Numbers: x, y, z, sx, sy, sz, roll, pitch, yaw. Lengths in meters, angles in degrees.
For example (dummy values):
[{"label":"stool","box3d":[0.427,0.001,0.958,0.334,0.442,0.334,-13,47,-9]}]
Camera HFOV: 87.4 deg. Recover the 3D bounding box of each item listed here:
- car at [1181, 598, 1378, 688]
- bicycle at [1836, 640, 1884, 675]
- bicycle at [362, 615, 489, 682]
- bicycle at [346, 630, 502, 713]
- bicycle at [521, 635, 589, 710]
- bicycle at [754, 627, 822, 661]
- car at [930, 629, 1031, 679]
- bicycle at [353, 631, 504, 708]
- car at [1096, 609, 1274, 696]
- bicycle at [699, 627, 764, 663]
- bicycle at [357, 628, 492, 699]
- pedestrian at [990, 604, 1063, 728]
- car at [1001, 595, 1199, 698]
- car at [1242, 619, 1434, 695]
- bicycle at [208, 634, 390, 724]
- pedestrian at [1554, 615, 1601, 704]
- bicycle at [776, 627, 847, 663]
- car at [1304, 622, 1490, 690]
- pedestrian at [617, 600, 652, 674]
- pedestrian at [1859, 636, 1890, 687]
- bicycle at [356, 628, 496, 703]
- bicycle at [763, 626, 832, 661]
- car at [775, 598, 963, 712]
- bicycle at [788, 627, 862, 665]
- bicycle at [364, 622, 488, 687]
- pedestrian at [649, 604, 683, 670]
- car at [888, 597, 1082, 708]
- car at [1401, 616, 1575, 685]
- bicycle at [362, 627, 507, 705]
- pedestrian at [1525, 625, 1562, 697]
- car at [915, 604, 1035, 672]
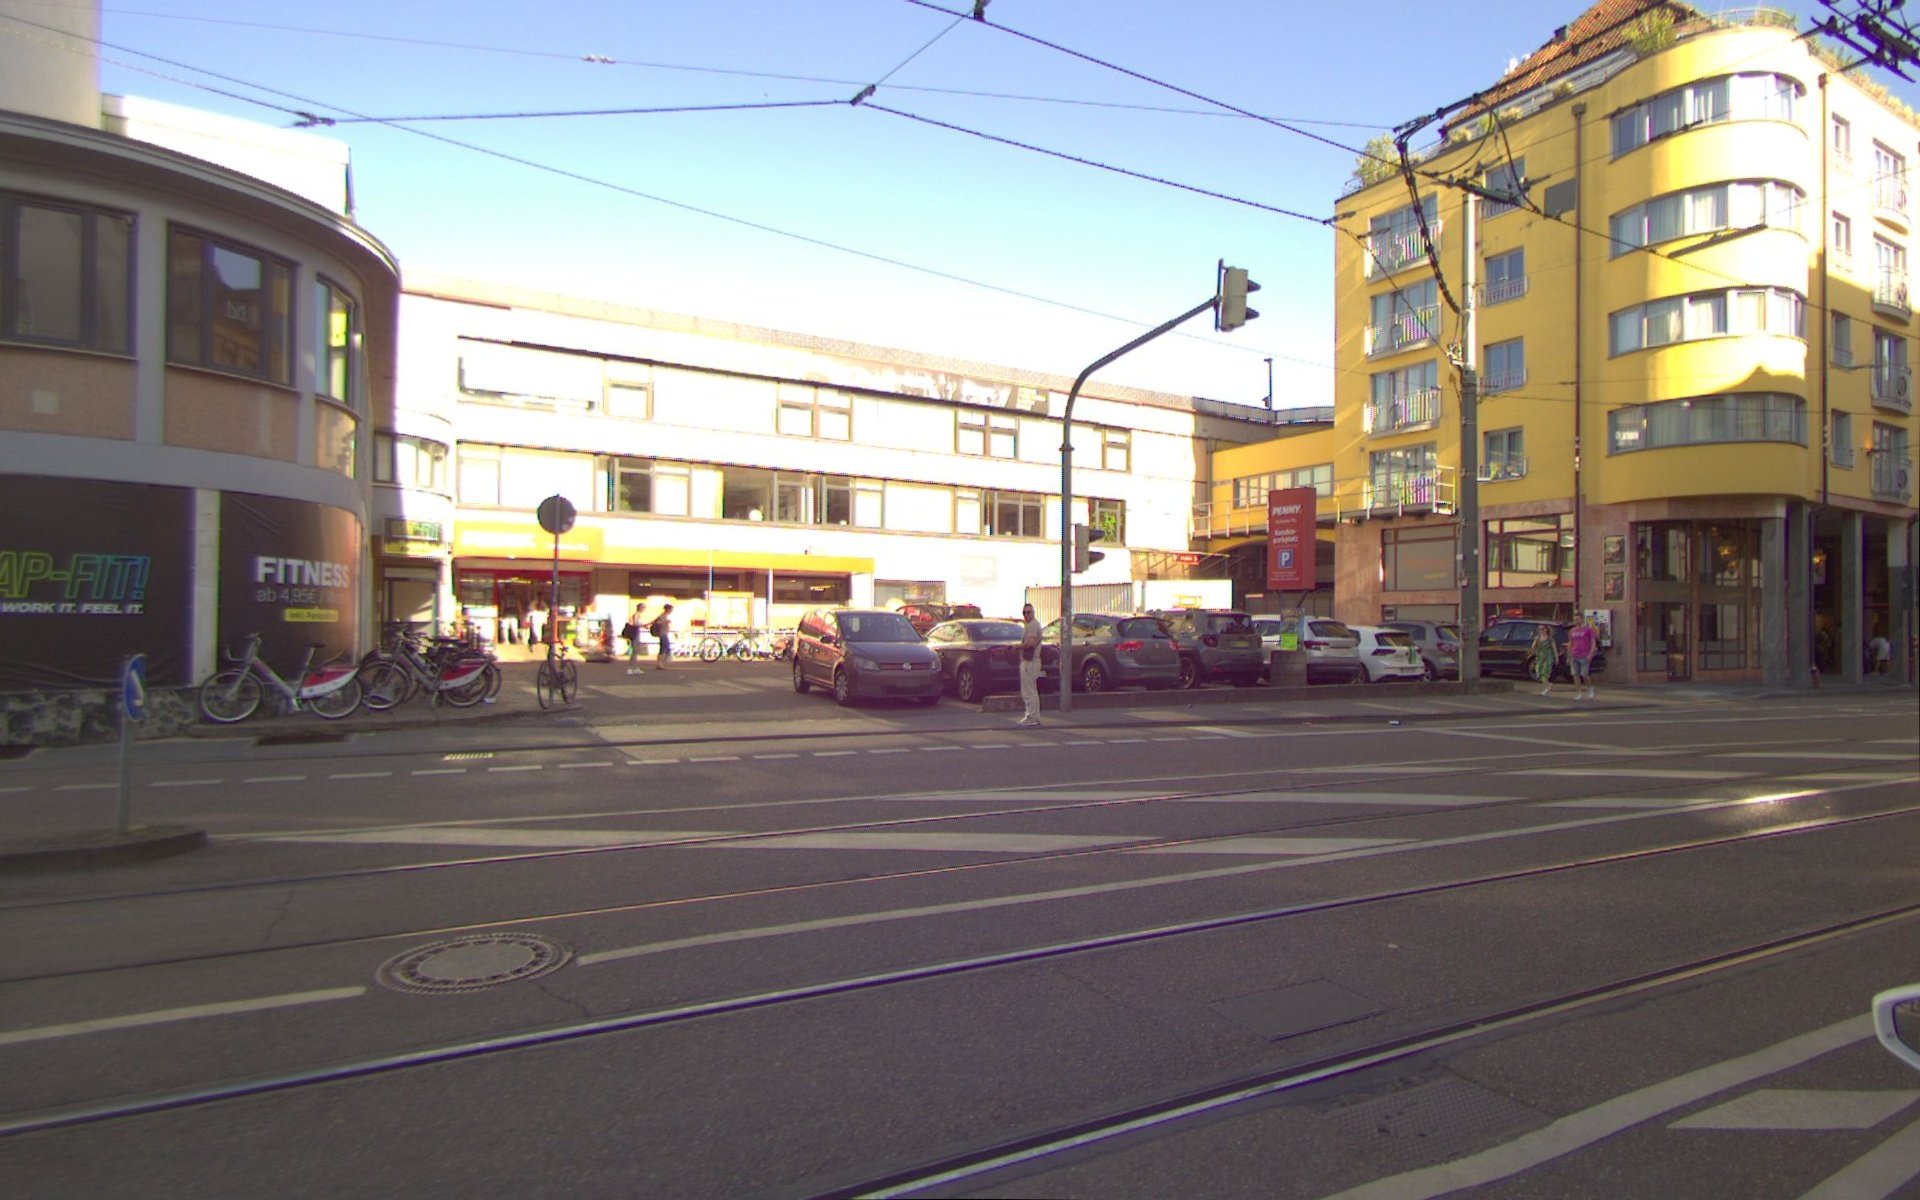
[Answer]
[{"label":"car","box3d":[7.216,0.974,23.102,1.764,1.835,4.214,4,-3,-29]},{"label":"bicycle","box3d":[32.923,2.090,36.726,2.053,1.219,0.579,1,-1,-26]},{"label":"bicycle","box3d":[-9.174,0.821,17.277,1.864,1.091,0.459,2,-1,-40]},{"label":"bicycle","box3d":[-7.465,0.978,14.039,1.863,1.094,0.460,2,-1,-38]},{"label":"bicycle","box3d":[-6.211,1.078,15.475,0.417,1.050,1.878,1,-1,-5]},{"label":"bicycle","box3d":[-5.303,1.357,31.019,2.041,1.028,0.501,2,-1,-33]},{"label":"car","box3d":[0.627,1.749,33.110,1.609,1.501,3.618,4,-3,-31]},{"label":"bicycle","box3d":[-7.670,0.985,14.554,1.863,1.050,0.460,2,-1,-38]},{"label":"car","box3d":[4.759,1.060,21.698,1.764,1.695,3.673,2,-1,-29]},{"label":"bicycle","box3d":[-6.622,1.303,29.138,1.802,1.028,0.366,2,-1,-27]},{"label":"bicycle","box3d":[-8.669,1.013,16.317,1.864,1.091,0.459,2,-1,-40]},{"label":"pedestrian","box3d":[1.003,0.977,15.144,0.773,1.787,0.708,2,1,-37]},{"label":"car","box3d":[2.684,0.881,20.243,1.764,1.836,4.214,1,-1,-29]},{"label":"car","box3d":[9.013,1.307,24.313,1.764,1.630,4.214,1,-1,-30]},{"label":"bicycle","box3d":[-8.290,0.960,12.649,1.863,1.050,0.520,2,-1,-38]},{"label":"pedestrian","box3d":[13.924,1.332,22.651,0.701,1.972,0.634,2,-1,-31]},{"label":"bicycle","box3d":[-4.343,1.310,29.508,2.041,1.028,0.501,2,-1,-33]},{"label":"car","box3d":[11.159,1.417,25.937,1.764,1.568,4.214,4,-3,-29]},{"label":"pedestrian","box3d":[-7.693,0.875,23.751,0.647,1.718,0.478,2,-1,-32]},{"label":"pedestrian","box3d":[32.775,2.202,35.999,0.713,1.793,0.559,2,-1,-26]},{"label":"bicycle","box3d":[-8.251,0.998,15.572,1.863,1.091,0.460,2,-1,-38]},{"label":"bicycle","box3d":[-4.901,1.326,30.369,2.041,1.028,0.492,2,-1,-33]},{"label":"car","box3d":[-1.756,0.882,17.978,1.764,1.787,4.214,2,-1,-30]},{"label":"bicycle","box3d":[-3.788,1.288,28.320,2.041,1.028,0.510,2,-1,-33]},{"label":"bicycle","box3d":[-9.443,0.958,17.813,1.864,1.091,0.459,2,-1,-40]},{"label":"pedestrian","box3d":[-7.437,0.931,25.416,0.683,1.655,0.635,1,-1,-31]},{"label":"car","box3d":[0.345,0.891,19.164,1.764,1.836,4.214,1,0,-30]},{"label":"car","box3d":[15.245,1.402,29.203,1.764,1.836,4.214,1,-1,-30]},{"label":"bicycle","box3d":[-7.835,0.973,15.032,1.863,1.101,0.460,2,-1,-38]},{"label":"pedestrian","box3d":[13.654,1.417,23.496,0.493,1.638,0.569,2,-1,-31]},{"label":"car","box3d":[0.355,1.027,28.040,1.677,1.772,3.559,2,-1,-32]}]
